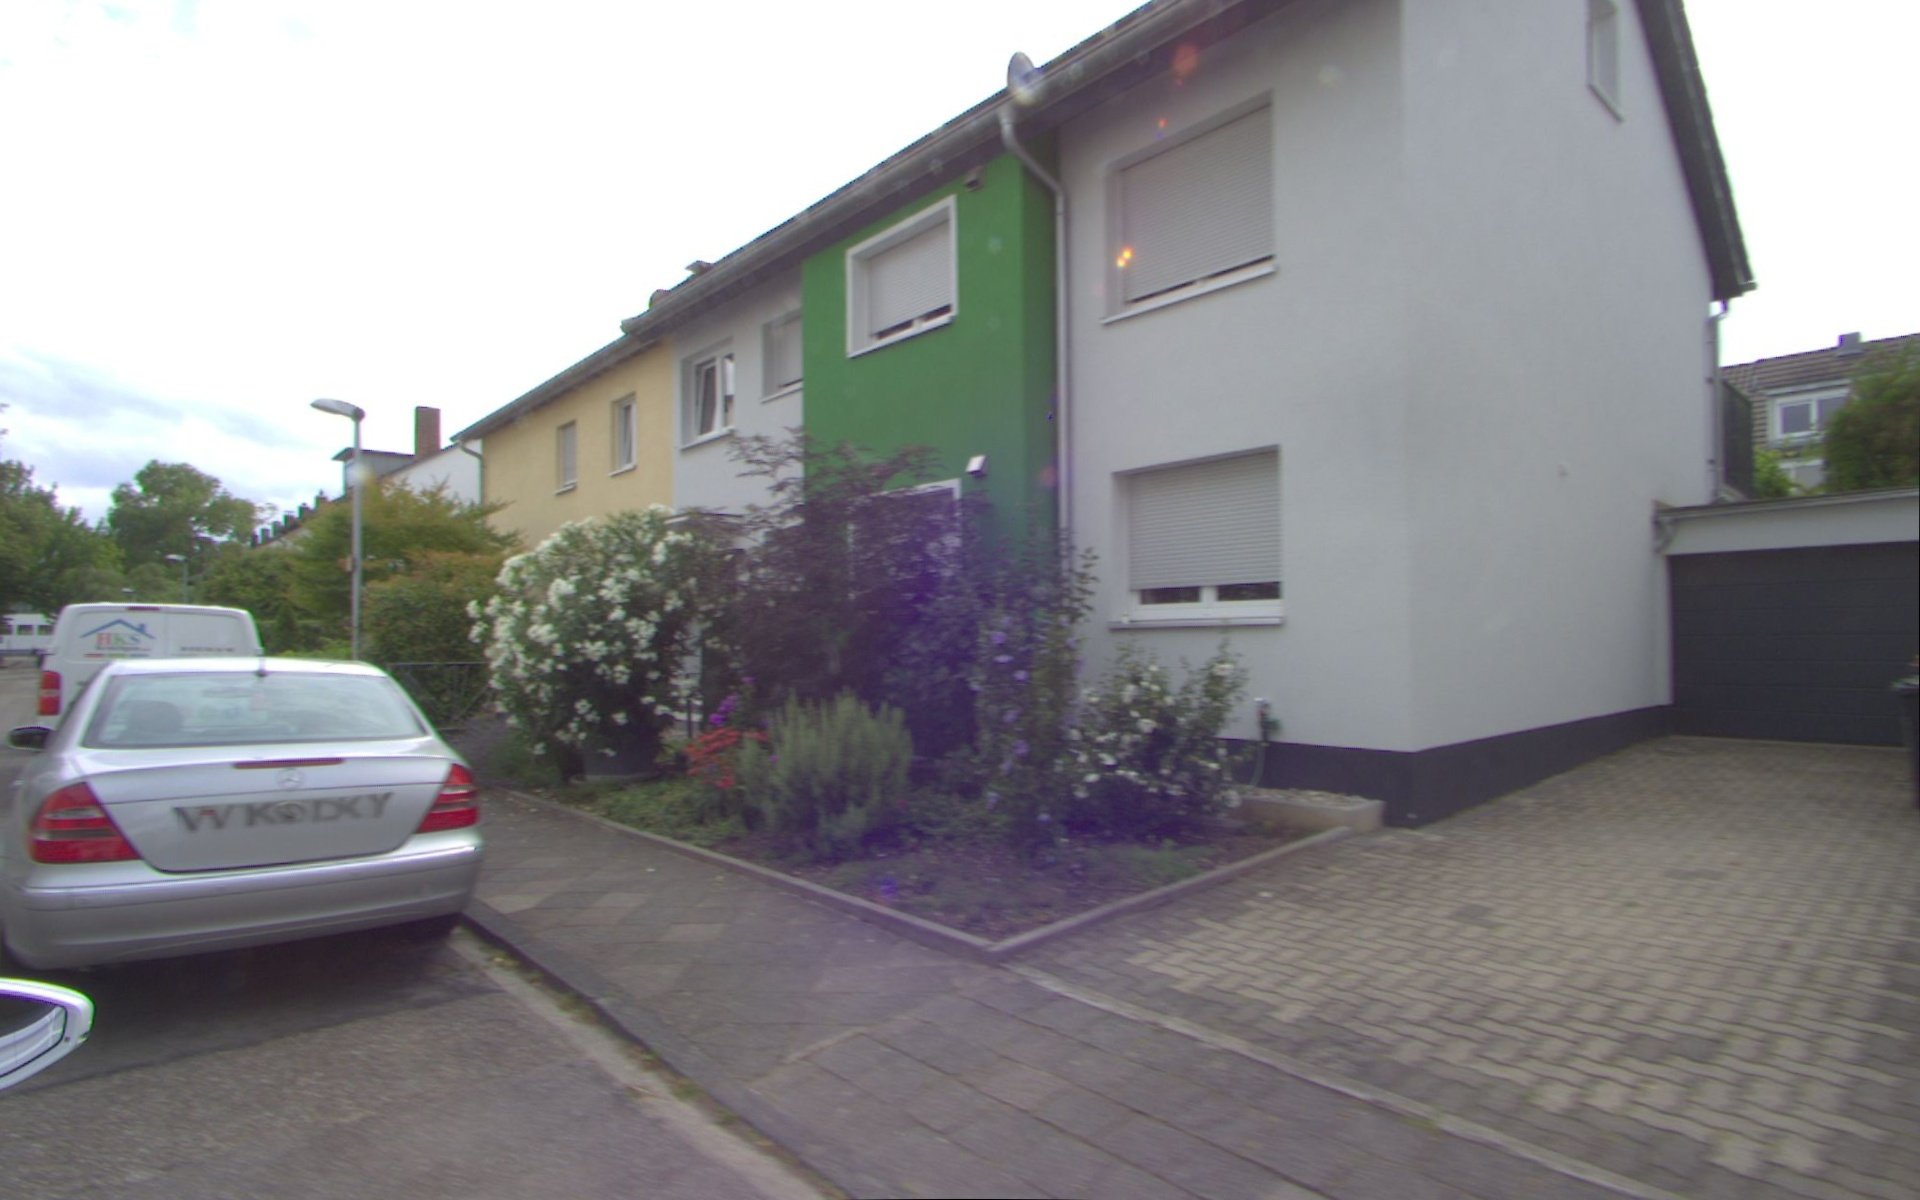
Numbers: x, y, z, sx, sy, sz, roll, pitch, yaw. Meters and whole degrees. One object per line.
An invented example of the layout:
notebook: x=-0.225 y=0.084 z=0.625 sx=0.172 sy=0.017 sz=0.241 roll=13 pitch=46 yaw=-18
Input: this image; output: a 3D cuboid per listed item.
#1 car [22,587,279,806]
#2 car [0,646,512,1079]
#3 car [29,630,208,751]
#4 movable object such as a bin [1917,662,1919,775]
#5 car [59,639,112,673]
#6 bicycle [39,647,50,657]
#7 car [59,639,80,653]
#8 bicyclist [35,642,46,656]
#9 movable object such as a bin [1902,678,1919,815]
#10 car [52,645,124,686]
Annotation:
car: x=-9.569 y=1.006 z=11.716 sx=1.891 sy=1.989 sz=5.206 roll=3 pitch=-4 yaw=-42
car: x=-4.090 y=0.994 z=5.539 sx=1.770 sy=1.438 sz=4.419 roll=3 pitch=-4 yaw=-40
car: x=-13.402 y=1.346 z=15.856 sx=1.814 sy=1.656 sz=4.121 roll=3 pitch=-4 yaw=-44
movable object such as a bin: x=7.377 y=0.983 z=7.297 sx=0.451 sy=1.045 sz=0.541 roll=-2 pitch=0 yaw=-43
car: x=-43.756 y=2.805 z=50.065 sx=1.814 sy=1.601 sz=3.963 roll=4 pitch=-4 yaw=-43
bicycle: x=-101.401 y=5.736 z=110.882 sx=0.683 sy=1.145 sz=2.558 roll=3 pitch=-4 yaw=-39
car: x=-108.731 y=5.582 z=122.233 sx=1.813 sy=1.601 sz=3.965 roll=4 pitch=-4 yaw=-41
bicyclist: x=-101.647 y=5.403 z=110.683 sx=0.792 sy=1.529 sz=0.926 roll=3 pitch=-3 yaw=-40
movable object such as a bin: x=6.915 y=1.034 z=7.074 sx=0.352 sy=0.938 sz=0.335 roll=-2 pitch=0 yaw=-43
car: x=-31.465 y=2.342 z=36.172 sx=1.813 sy=1.387 sz=4.293 roll=4 pitch=-4 yaw=-41
